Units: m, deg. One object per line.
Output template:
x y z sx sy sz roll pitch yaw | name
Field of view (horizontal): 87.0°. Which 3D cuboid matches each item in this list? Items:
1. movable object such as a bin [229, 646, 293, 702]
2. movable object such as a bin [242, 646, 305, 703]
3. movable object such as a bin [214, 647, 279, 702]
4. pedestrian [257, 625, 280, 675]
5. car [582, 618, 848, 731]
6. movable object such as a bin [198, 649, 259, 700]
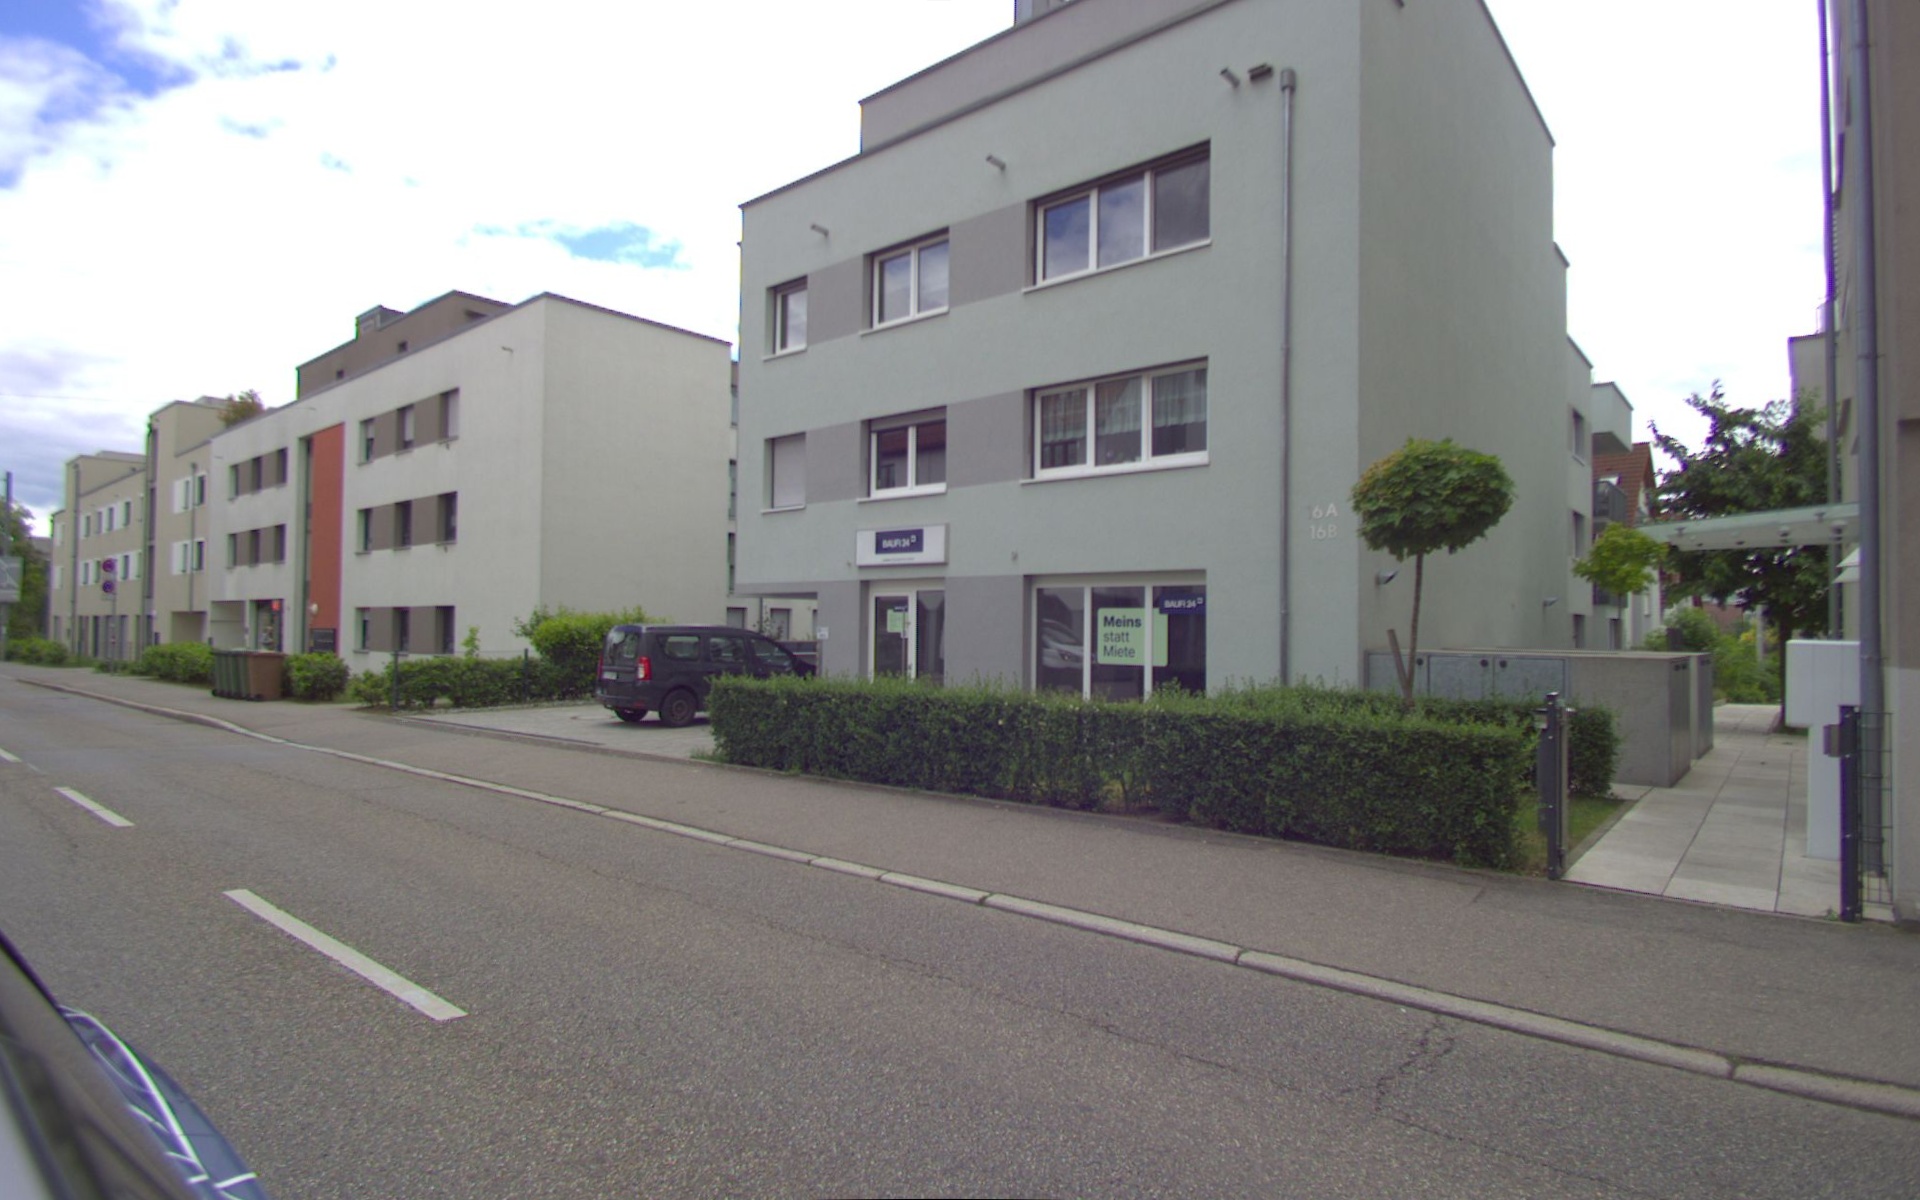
-15.092 1.576 21.866 0.748 1.160 0.940 -1 -2 36 | movable object such as a bin
-14.531 1.553 21.436 0.611 1.160 0.932 -2 -2 36 | movable object such as a bin
-15.756 1.636 22.362 0.839 1.160 0.947 -1 -2 36 | movable object such as a bin
-23.338 1.684 34.170 0.511 1.655 0.642 1 -2 -25 | pedestrian
-4.041 1.182 17.197 1.725 1.680 4.116 -1 -2 44 | car
-16.483 1.654 22.809 0.791 1.097 0.886 -1 -2 36 | movable object such as a bin
